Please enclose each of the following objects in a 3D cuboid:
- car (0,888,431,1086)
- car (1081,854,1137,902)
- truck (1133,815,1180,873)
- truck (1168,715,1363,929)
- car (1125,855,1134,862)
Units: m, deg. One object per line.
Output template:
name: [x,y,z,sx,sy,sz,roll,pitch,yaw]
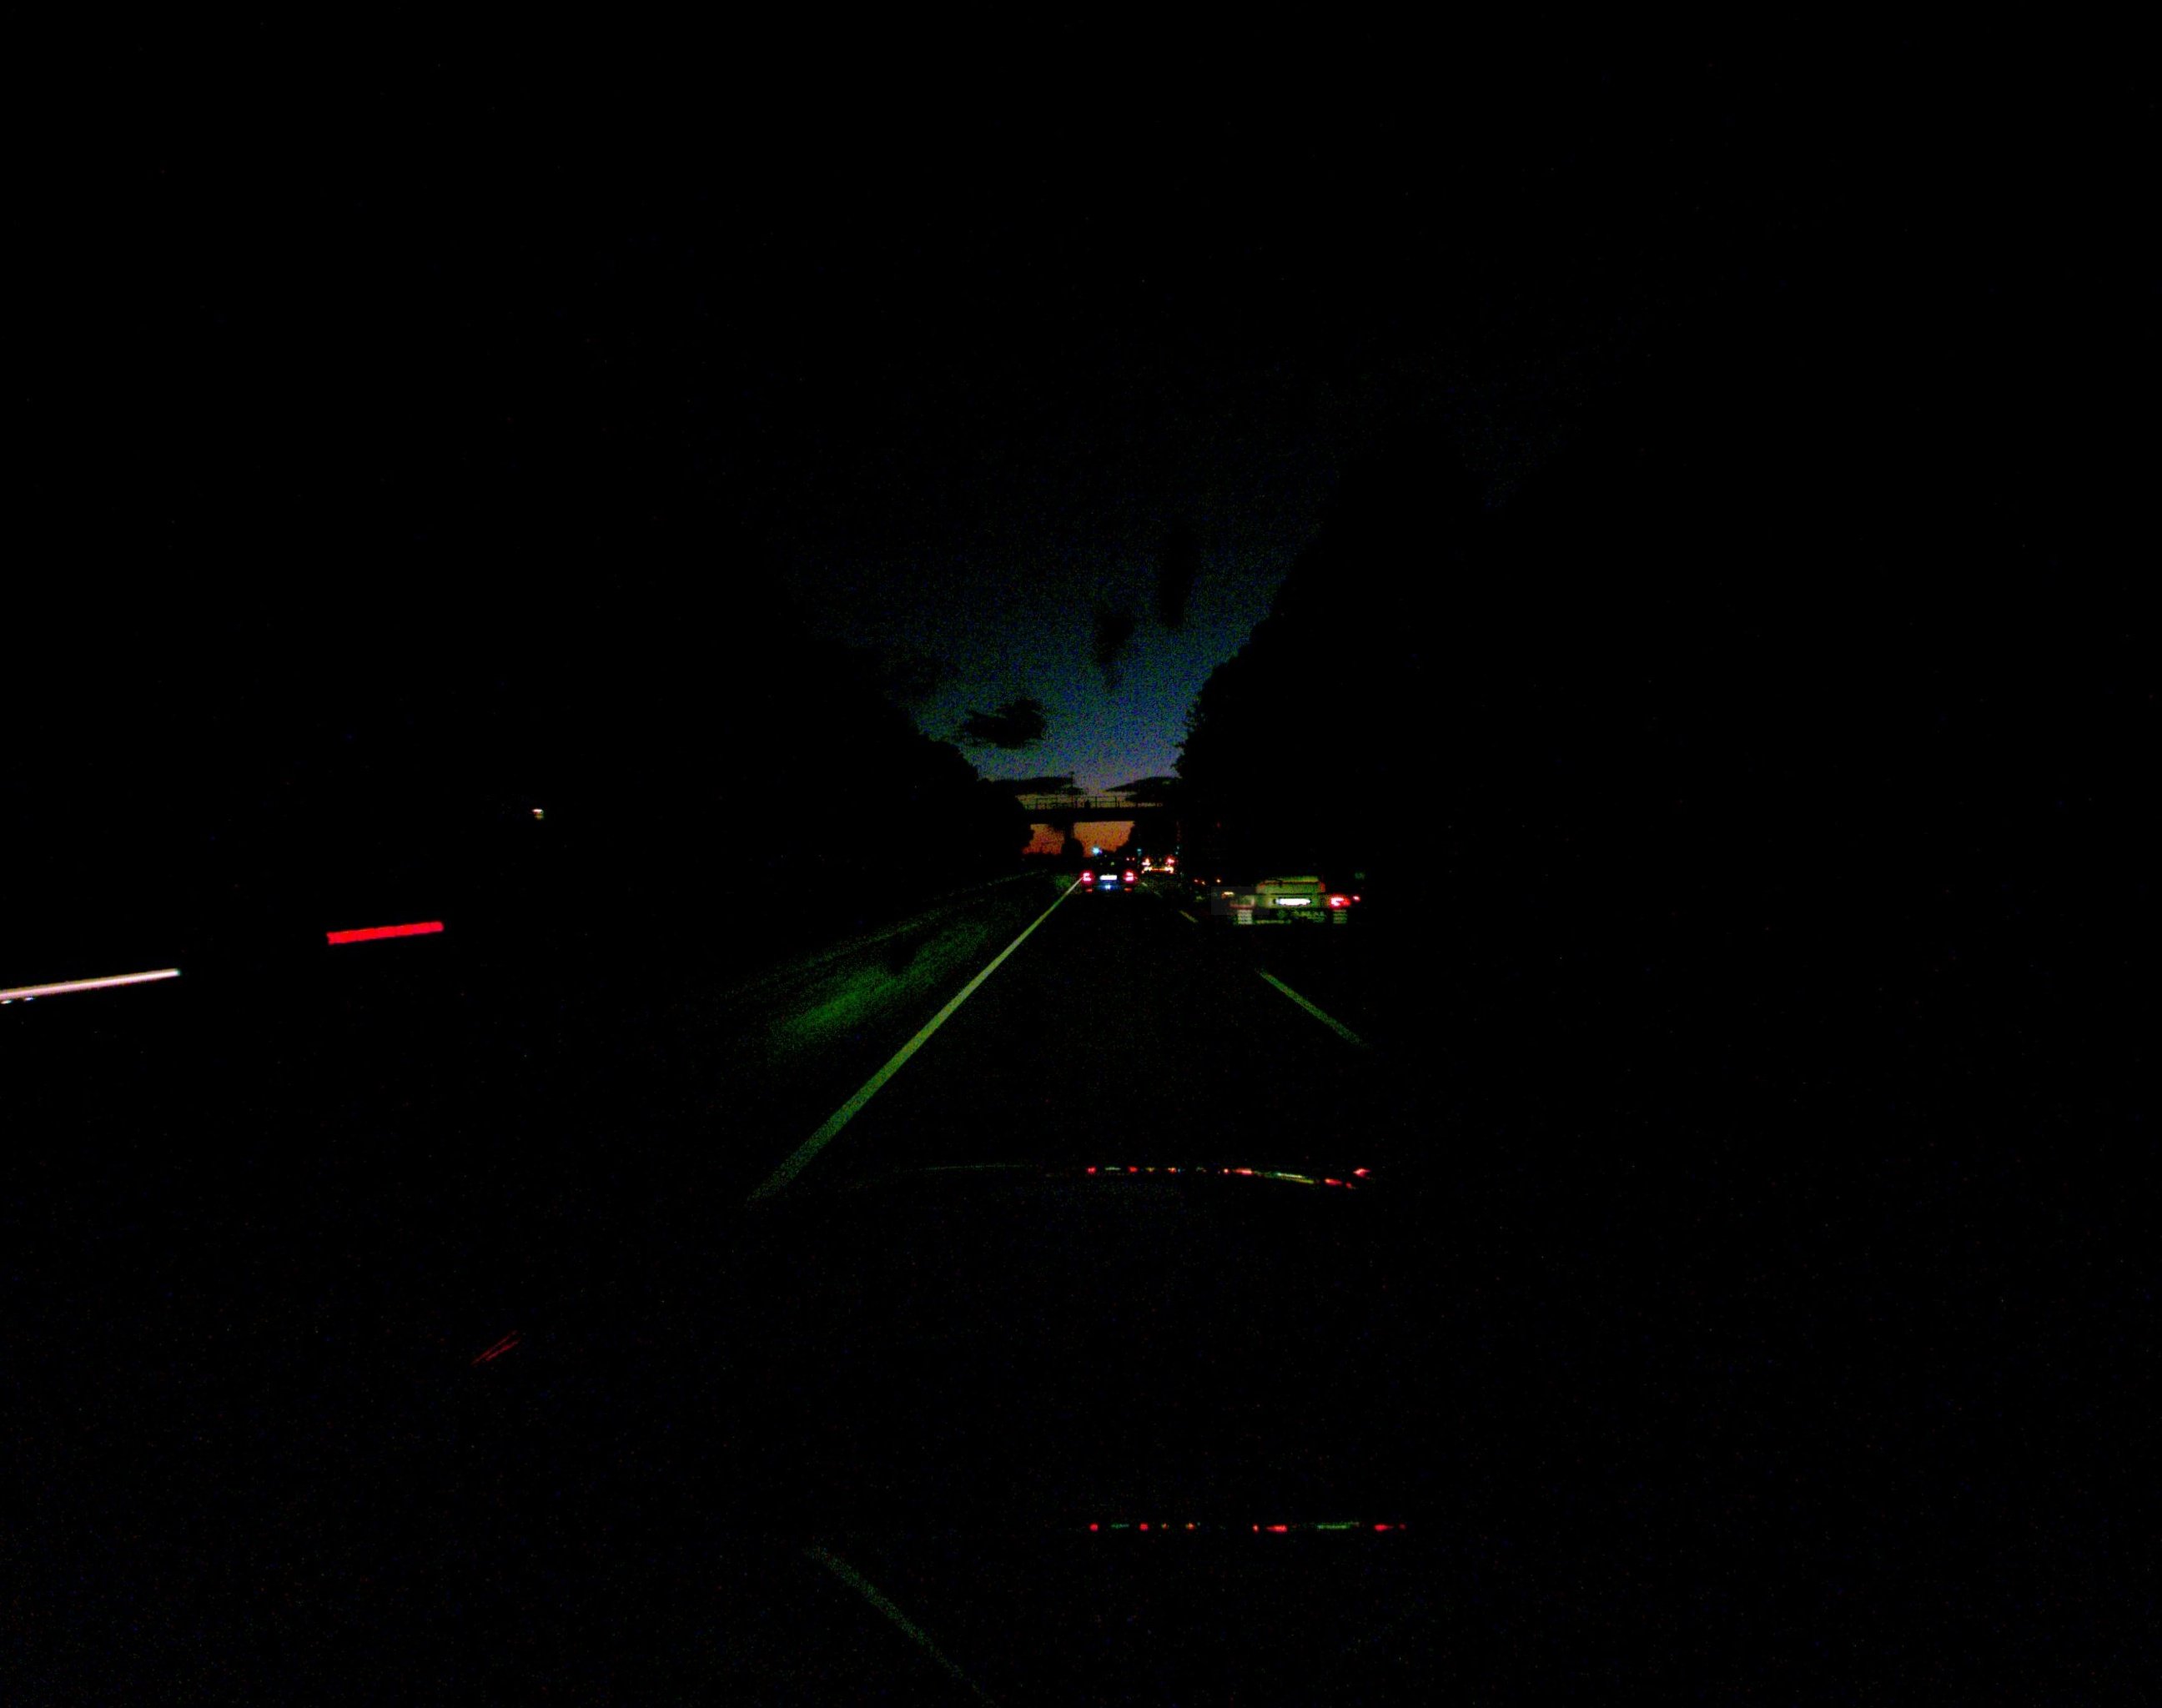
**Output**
car: [-9.404,1.205,8.772,1.611,1.507,3.870,-1,0,1]
car: [0.911,0.750,27.062,1.689,1.452,3.915,-1,0,1]
truck: [5.812,-0.687,64.713,2.872,4.106,12.687,-1,0,2]
truck: [4.264,-0.584,22.351,2.677,4.106,13.145,-1,0,2]
car: [10.380,1.061,173.901,1.689,1.452,3.915,-1,0,1]
